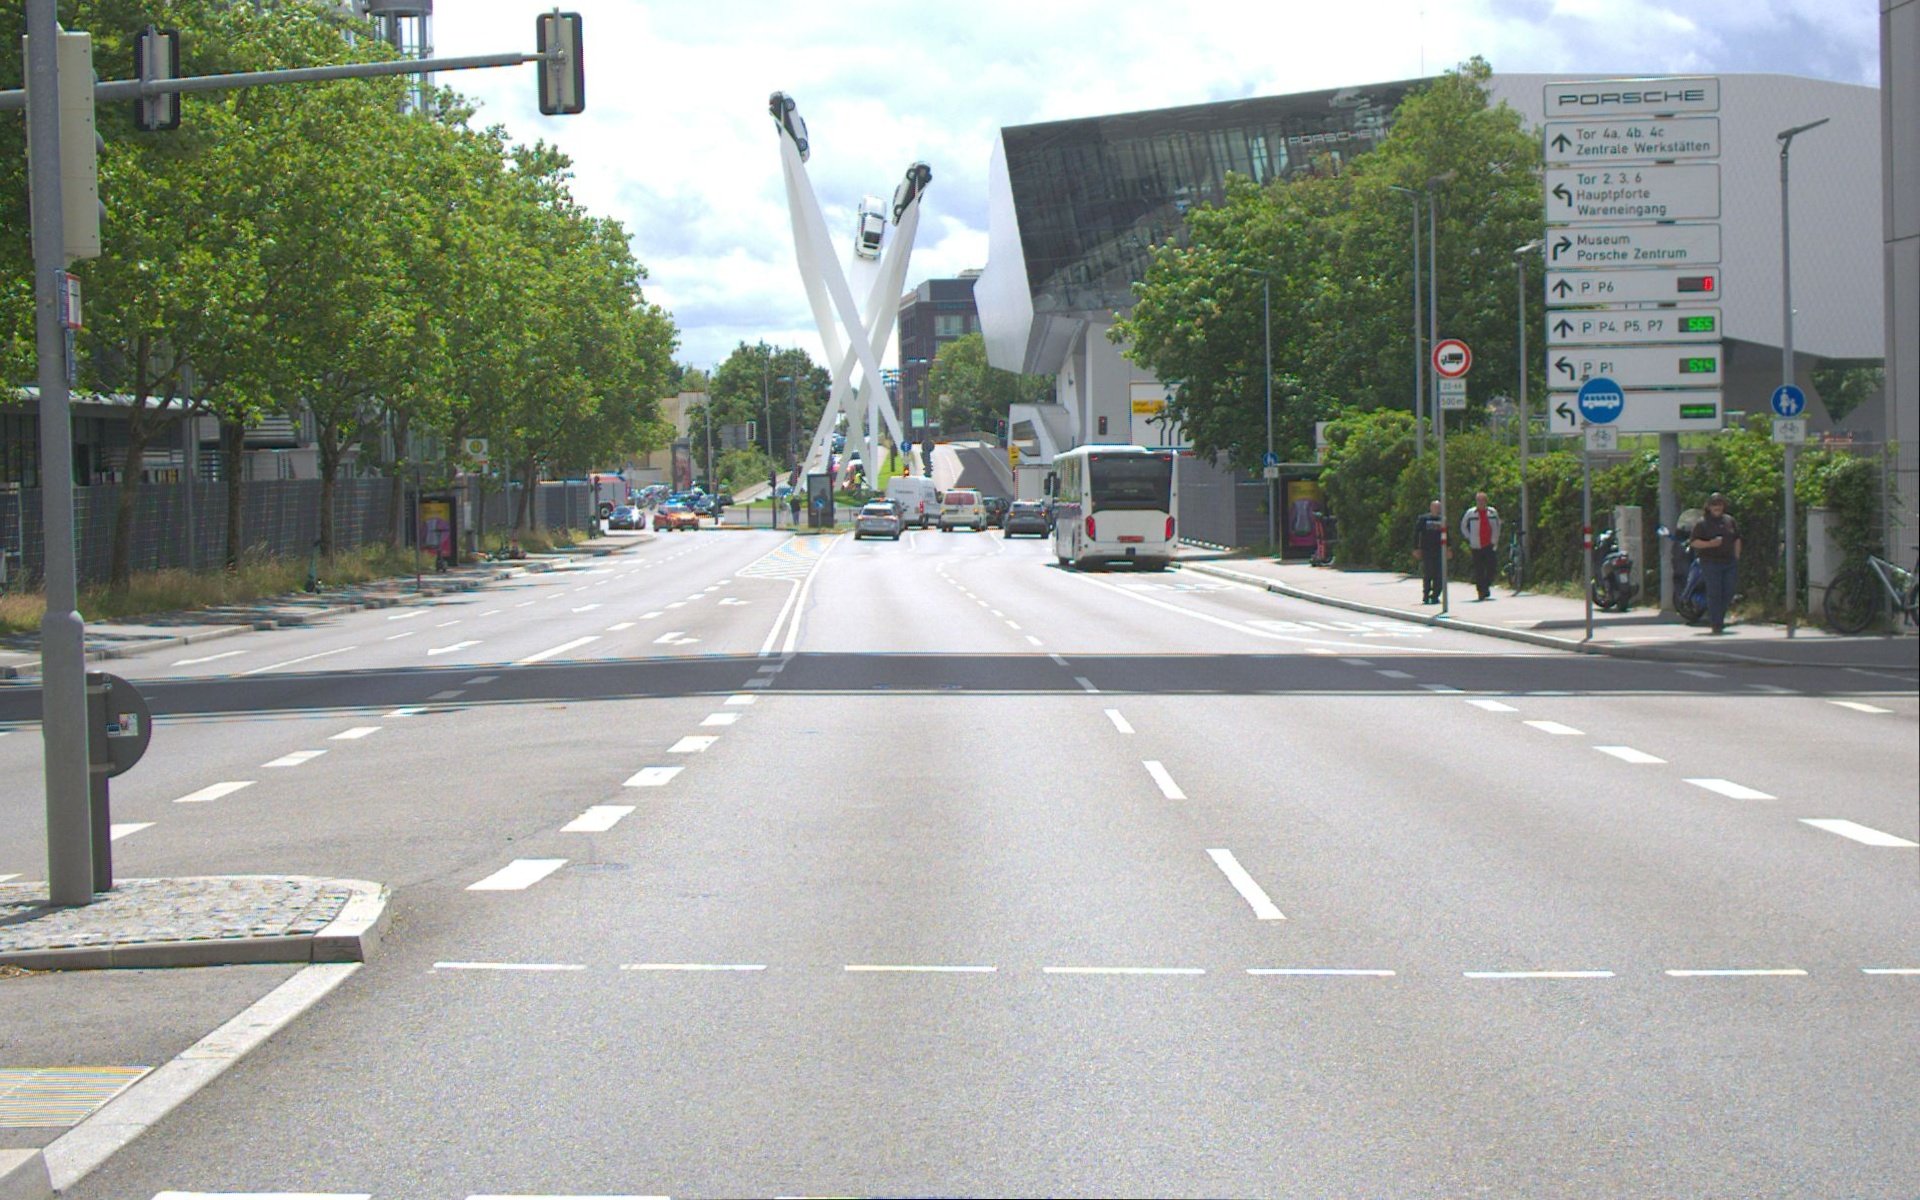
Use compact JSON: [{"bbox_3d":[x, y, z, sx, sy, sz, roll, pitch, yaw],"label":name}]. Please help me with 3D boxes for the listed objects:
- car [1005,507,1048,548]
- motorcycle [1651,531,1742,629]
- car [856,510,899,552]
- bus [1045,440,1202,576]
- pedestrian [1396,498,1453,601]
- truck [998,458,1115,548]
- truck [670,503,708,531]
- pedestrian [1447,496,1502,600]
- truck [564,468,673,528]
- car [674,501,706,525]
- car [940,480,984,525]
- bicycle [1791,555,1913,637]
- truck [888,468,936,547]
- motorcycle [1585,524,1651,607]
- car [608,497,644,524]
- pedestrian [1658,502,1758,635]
[{"bbox_3d":[2.828,-3.078,146.217,1.738,1.735,3.691,0,1,-1],"label":"car"},{"bbox_3d":[9.607,-0.280,44.897,0.706,1.199,2.024,-2,2,-1],"label":"motorcycle"},{"bbox_3d":[-3.384,-2.839,141.572,1.738,1.735,3.691,0,1,-1],"label":"car"},{"bbox_3d":[4.377,-2.496,94.418,3.452,3.531,10.607,0,1,-2],"label":"bus"},{"bbox_3d":[7.806,-0.851,57.767,0.820,1.701,0.881,0,1,-1],"label":"pedestrian"},{"bbox_3d":[4.883,-4.797,171.640,3.455,4.376,9.412,0,1,17],"label":"truck"},{"bbox_3d":[-14.845,-4.548,188.133,1.583,1.532,3.680,0,1,-13],"label":"truck"},{"bbox_3d":[8.662,-0.872,57.887,0.820,1.735,0.637,0,1,-1],"label":"pedestrian"},{"bbox_3d":[-23.278,-6.942,234.611,7.058,3.880,2.485,1,0,-37],"label":"truck"},{"bbox_3d":[-17.843,-5.725,227.125,1.818,1.532,3.679,-2,1,-1],"label":"car"},{"bbox_3d":[0.108,-4.667,165.396,1.993,2.007,4.000,1,0,1],"label":"car"},{"bbox_3d":[10.613,-0.058,40.978,0.397,0.933,1.929,0,1,-19],"label":"bicycle"},{"bbox_3d":[-2.387,-4.604,172.101,2.392,3.884,6.177,0,1,-1],"label":"truck"},{"bbox_3d":[10.089,-0.543,52.754,0.574,1.199,2.024,-2,2,-1],"label":"motorcycle"},{"bbox_3d":[-20.397,-5.466,210.012,1.818,1.532,3.679,-2,1,-1],"label":"car"},{"bbox_3d":[9.211,-0.396,42.325,0.849,1.619,0.954,1,1,41],"label":"pedestrian"}]
